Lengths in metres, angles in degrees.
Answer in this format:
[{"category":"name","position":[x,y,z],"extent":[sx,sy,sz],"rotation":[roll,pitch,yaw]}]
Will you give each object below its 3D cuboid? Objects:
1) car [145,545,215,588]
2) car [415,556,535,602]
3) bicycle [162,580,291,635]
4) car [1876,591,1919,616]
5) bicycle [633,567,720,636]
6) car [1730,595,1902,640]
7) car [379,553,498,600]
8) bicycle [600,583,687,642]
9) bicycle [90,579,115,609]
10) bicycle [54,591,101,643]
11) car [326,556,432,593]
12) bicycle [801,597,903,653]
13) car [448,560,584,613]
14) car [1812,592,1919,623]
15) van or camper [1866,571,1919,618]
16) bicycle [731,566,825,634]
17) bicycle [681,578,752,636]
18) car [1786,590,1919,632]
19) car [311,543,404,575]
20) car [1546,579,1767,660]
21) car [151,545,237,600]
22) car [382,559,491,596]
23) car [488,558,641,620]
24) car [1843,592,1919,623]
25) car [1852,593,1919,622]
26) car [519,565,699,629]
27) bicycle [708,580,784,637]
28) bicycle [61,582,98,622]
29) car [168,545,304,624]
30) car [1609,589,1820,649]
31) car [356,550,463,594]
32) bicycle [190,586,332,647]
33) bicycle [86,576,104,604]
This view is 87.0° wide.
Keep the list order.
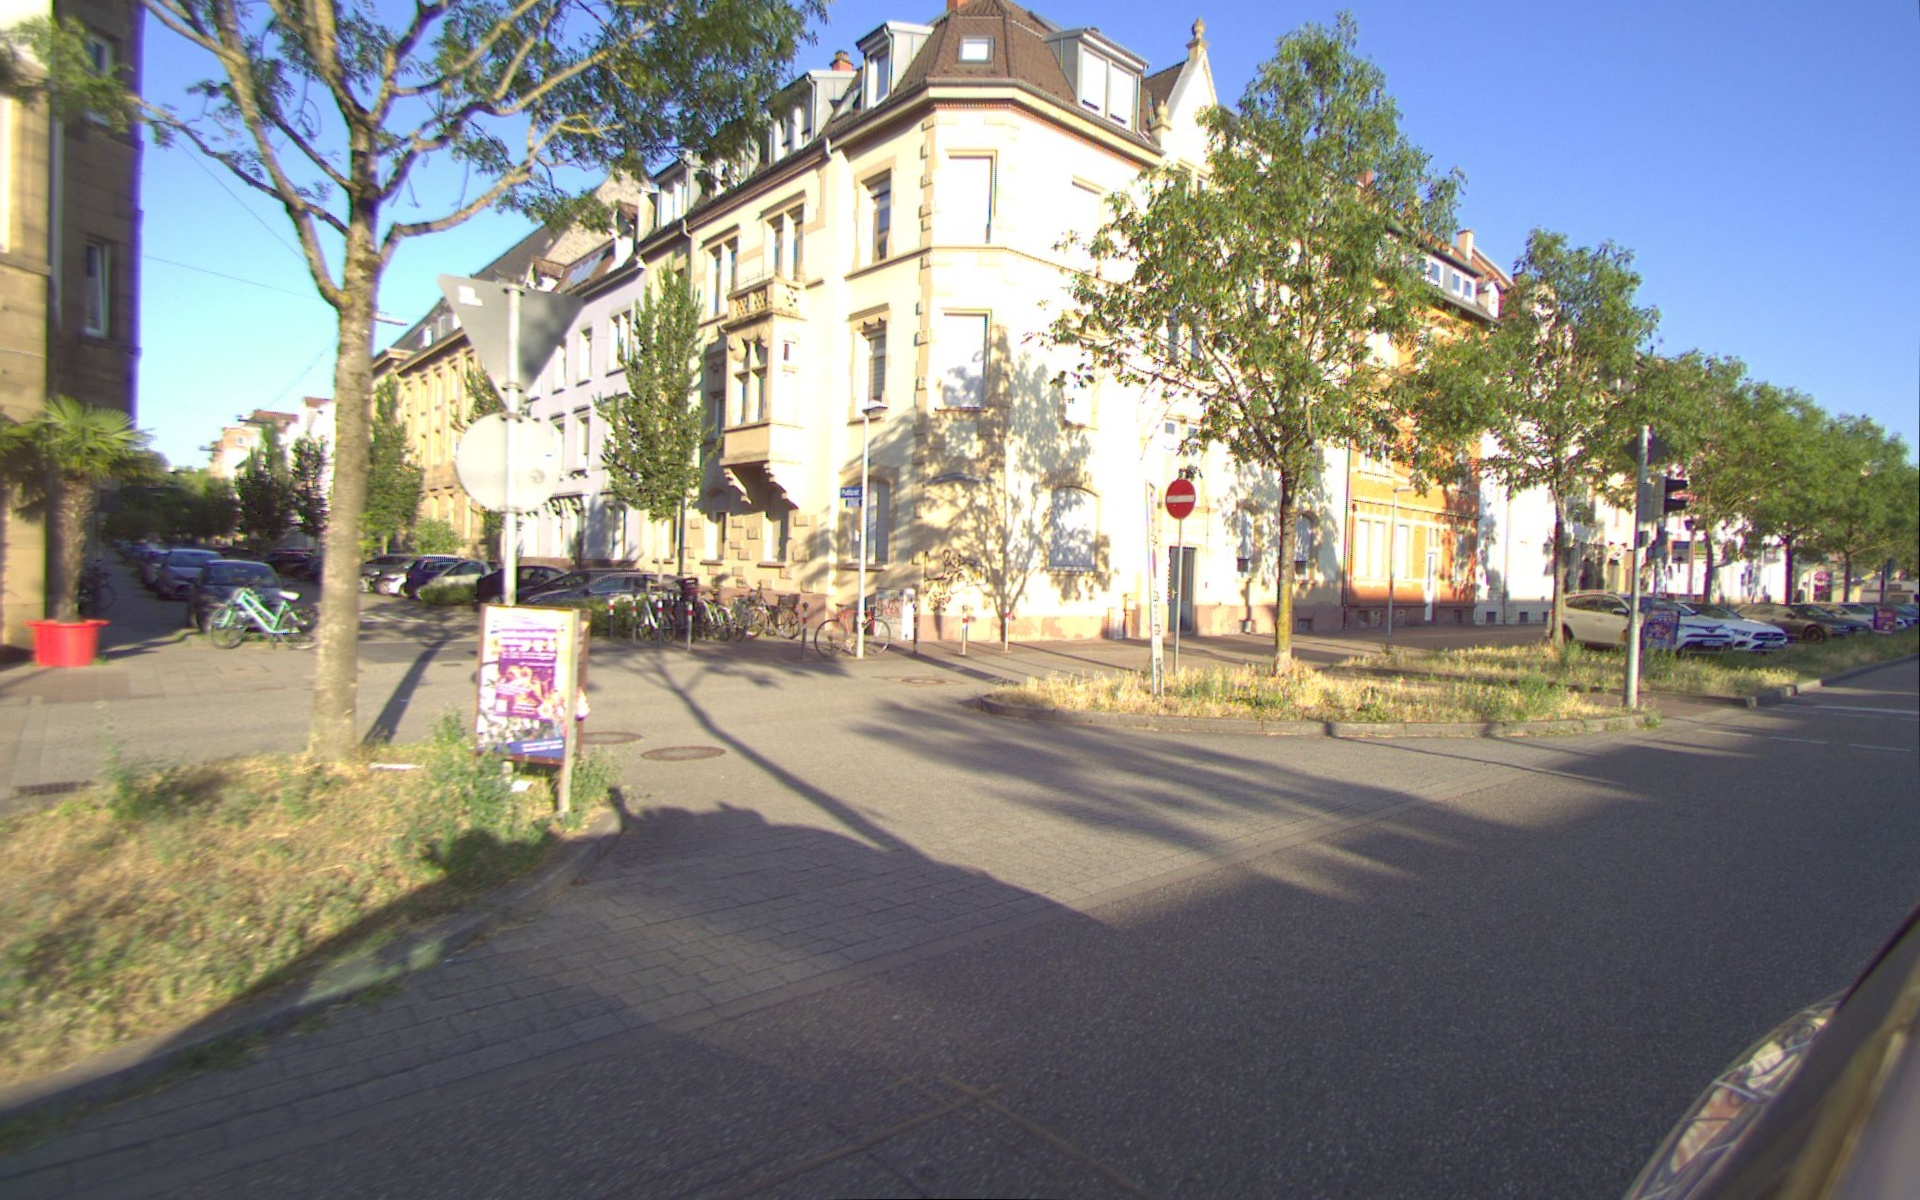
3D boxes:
[{"category":"car","position":[-30.371,-1.304,39.350],"extent":[1.964,1.484,4.108],"rotation":[3,0,-39]},{"category":"car","position":[-16.834,-0.733,35.284],"extent":[3.633,1.492,1.872],"rotation":[1,1,-22]},{"category":"bicycle","position":[-13.721,0.146,18.976],"extent":[1.845,0.959,0.631],"rotation":[2,0,-10]},{"category":"car","position":[57.027,0.216,59.958],"extent":[1.761,1.420,3.926],"rotation":[1,2,-2]},{"category":"bicycle","position":[-5.970,0.000,21.189],"extent":[0.718,1.336,2.352],"rotation":[0,2,-44]},{"category":"car","position":[30.434,0.570,36.190],"extent":[1.857,1.364,4.591],"rotation":[1,2,-8]},{"category":"car","position":[-18.993,-0.862,37.031],"extent":[3.633,1.575,1.873],"rotation":[1,1,-21]},{"category":"bicycle","position":[-6.412,0.222,20.427],"extent":[0.718,1.063,2.330],"rotation":[0,2,-44]},{"category":"bicycle","position":[-20.518,-0.150,24.223],"extent":[0.424,0.661,1.270],"rotation":[1,1,-40]},{"category":"bicycle","position":[-13.947,0.259,16.009],"extent":[0.521,0.744,1.544],"rotation":[1,1,-40]},{"category":"car","position":[-24.654,-1.082,43.078],"extent":[3.633,1.492,1.873],"rotation":[1,1,-21]},{"category":"bicycle","position":[-1.934,0.431,18.293],"extent":[1.851,0.882,0.461],"rotation":[-1,8,-41]},{"category":"car","position":[-13.255,-0.413,30.435],"extent":[3.633,1.492,1.873],"rotation":[1,1,-21]},{"category":"car","position":[45.215,0.333,50.208],"extent":[1.848,1.434,4.441],"rotation":[1,1,-5]},{"category":"van or camper","position":[59.437,-0.324,62.024],"extent":[2.159,2.847,5.662],"rotation":[1,2,-9]},{"category":"bicycle","position":[-4.125,-0.042,22.786],"extent":[0.718,1.401,2.667],"rotation":[0,2,-44]},{"category":"bicycle","position":[-5.264,0.127,21.811],"extent":[0.565,1.138,1.974],"rotation":[0,2,-44]},{"category":"car","position":[37.784,0.430,42.650],"extent":[1.810,1.528,4.652],"rotation":[1,2,-5]},{"category":"car","position":[-31.761,-2.134,53.465],"extent":[3.931,1.559,1.873],"rotation":[1,1,-21]},{"category":"car","position":[16.417,0.381,24.199],"extent":[1.877,1.712,4.438],"rotation":[1,1,-6]},{"category":"car","position":[-24.876,-0.911,32.822],"extent":[1.964,1.571,4.107],"rotation":[3,0,-40]},{"category":"car","position":[-20.375,-0.894,39.535],"extent":[3.556,1.326,1.695],"rotation":[1,1,-21]},{"category":"car","position":[-10.918,-0.302,28.133],"extent":[3.792,1.596,1.873],"rotation":[1,1,-20]},{"category":"car","position":[47.686,0.375,51.363],"extent":[1.691,1.455,4.061],"rotation":[0,1,-12]},{"category":"car","position":[50.005,0.417,53.205],"extent":[1.883,1.441,4.443],"rotation":[1,1,-9]},{"category":"car","position":[-8.876,-0.090,25.932],"extent":[4.113,1.510,1.872],"rotation":[1,1,-12]},{"category":"bicycle","position":[-4.703,0.159,22.132],"extent":[0.530,1.119,2.207],"rotation":[0,2,-44]},{"category":"bicycle","position":[-17.457,0.031,20.085],"extent":[0.521,0.744,1.544],"rotation":[1,1,-40]},{"category":"car","position":[-15.627,-0.371,21.756],"extent":[1.965,1.484,3.995],"rotation":[3,0,-41]},{"category":"car","position":[20.794,0.462,28.185],"extent":[1.989,1.417,4.564],"rotation":[1,2,-10]},{"category":"car","position":[-22.574,-1.154,41.653],"extent":[3.633,1.688,1.873],"rotation":[1,1,-21]},{"category":"bicycle","position":[-11.618,0.276,16.892],"extent":[1.845,0.959,0.631],"rotation":[2,1,-26]},{"category":"bicycle","position":[-21.934,-0.258,25.674],"extent":[0.321,0.689,1.147],"rotation":[1,1,-40]}]
